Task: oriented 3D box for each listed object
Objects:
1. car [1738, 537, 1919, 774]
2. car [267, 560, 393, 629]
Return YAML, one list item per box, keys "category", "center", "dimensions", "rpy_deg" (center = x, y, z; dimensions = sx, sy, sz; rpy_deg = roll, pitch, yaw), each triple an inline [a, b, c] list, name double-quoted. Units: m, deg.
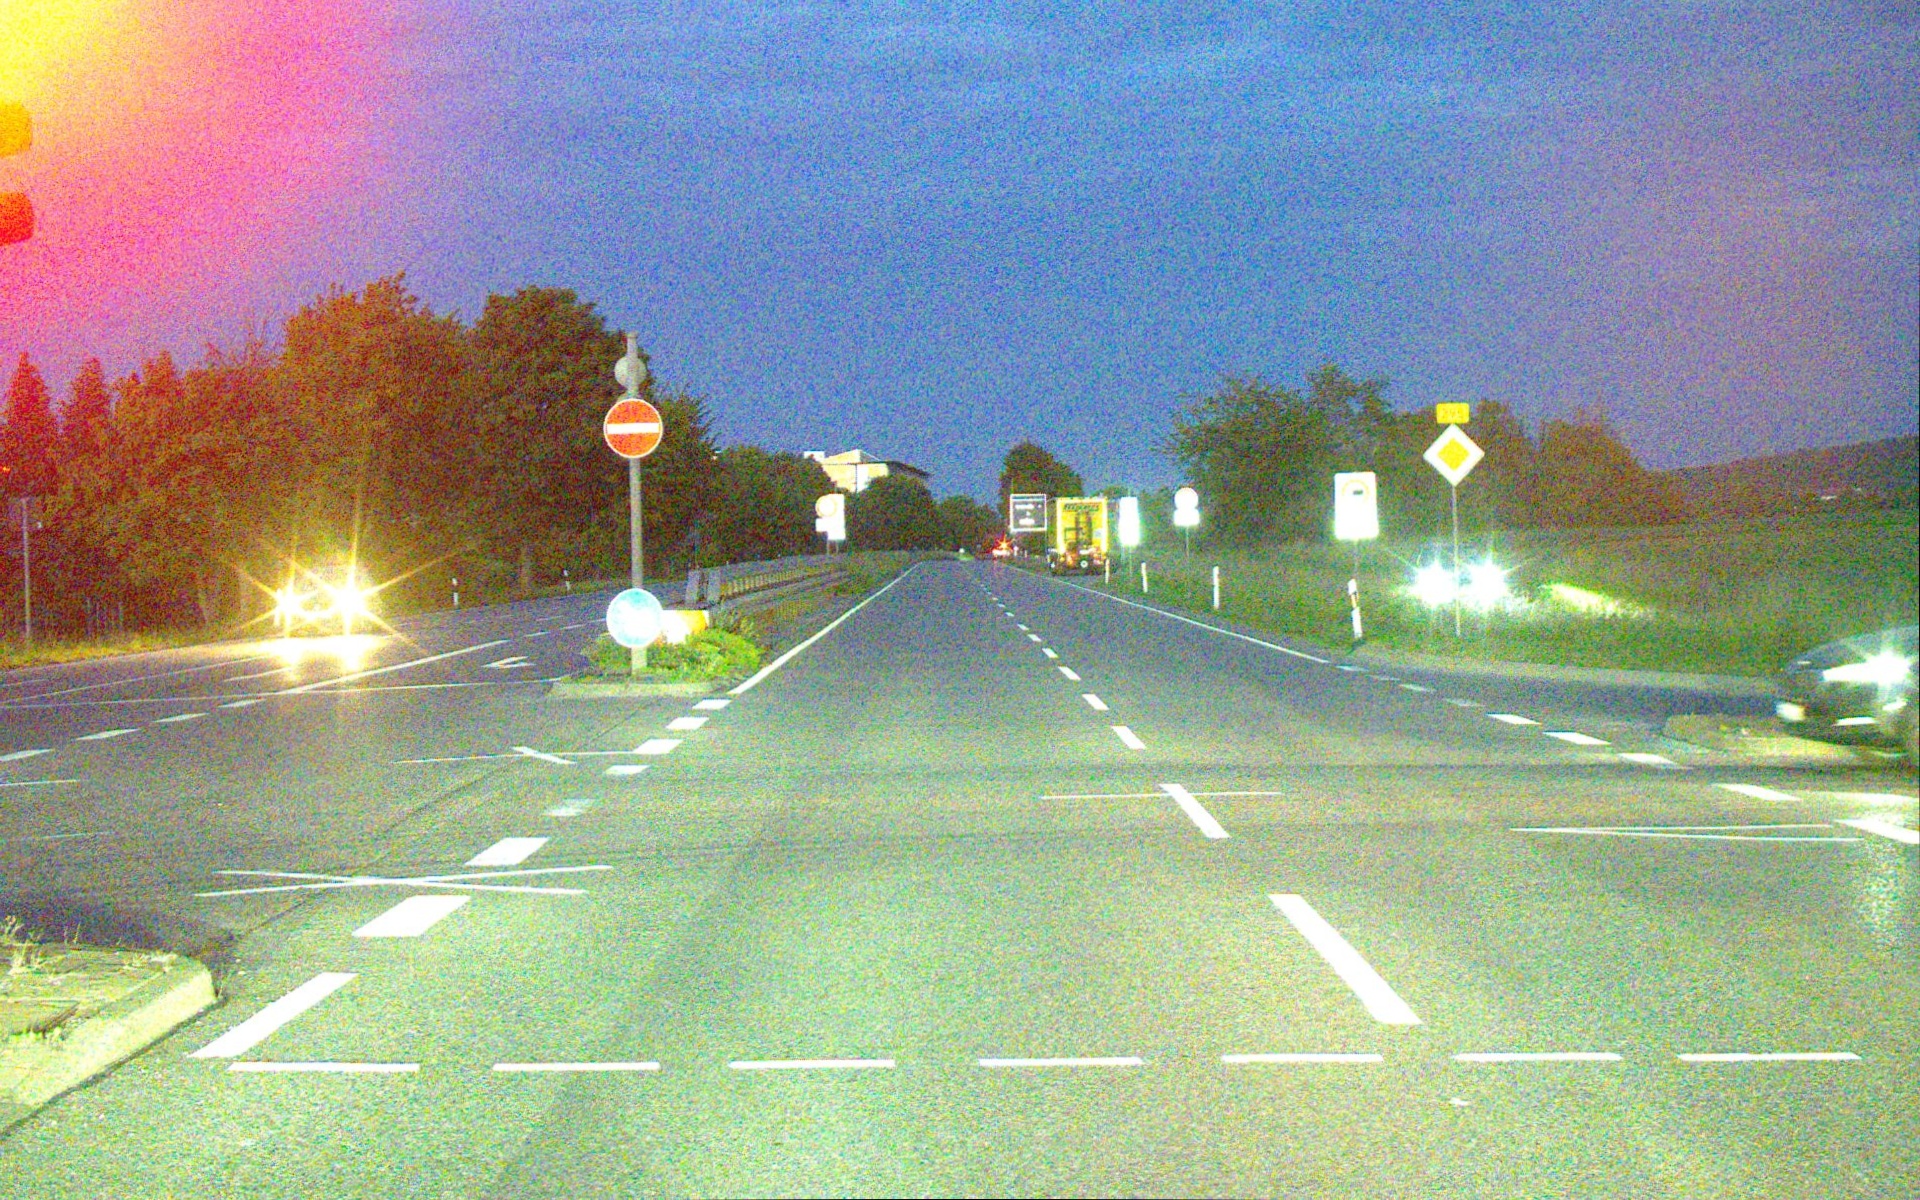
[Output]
- category: "car"
  center: [7.823, 0.362, 23.230]
  dimensions: [4.600, 1.515, 2.000]
  rpy_deg: [1, 1, -3]
- category: "car"
  center: [-13.461, -0.138, 73.654]
  dimensions: [1.993, 1.382, 4.000]
  rpy_deg: [-1, 1, -1]
